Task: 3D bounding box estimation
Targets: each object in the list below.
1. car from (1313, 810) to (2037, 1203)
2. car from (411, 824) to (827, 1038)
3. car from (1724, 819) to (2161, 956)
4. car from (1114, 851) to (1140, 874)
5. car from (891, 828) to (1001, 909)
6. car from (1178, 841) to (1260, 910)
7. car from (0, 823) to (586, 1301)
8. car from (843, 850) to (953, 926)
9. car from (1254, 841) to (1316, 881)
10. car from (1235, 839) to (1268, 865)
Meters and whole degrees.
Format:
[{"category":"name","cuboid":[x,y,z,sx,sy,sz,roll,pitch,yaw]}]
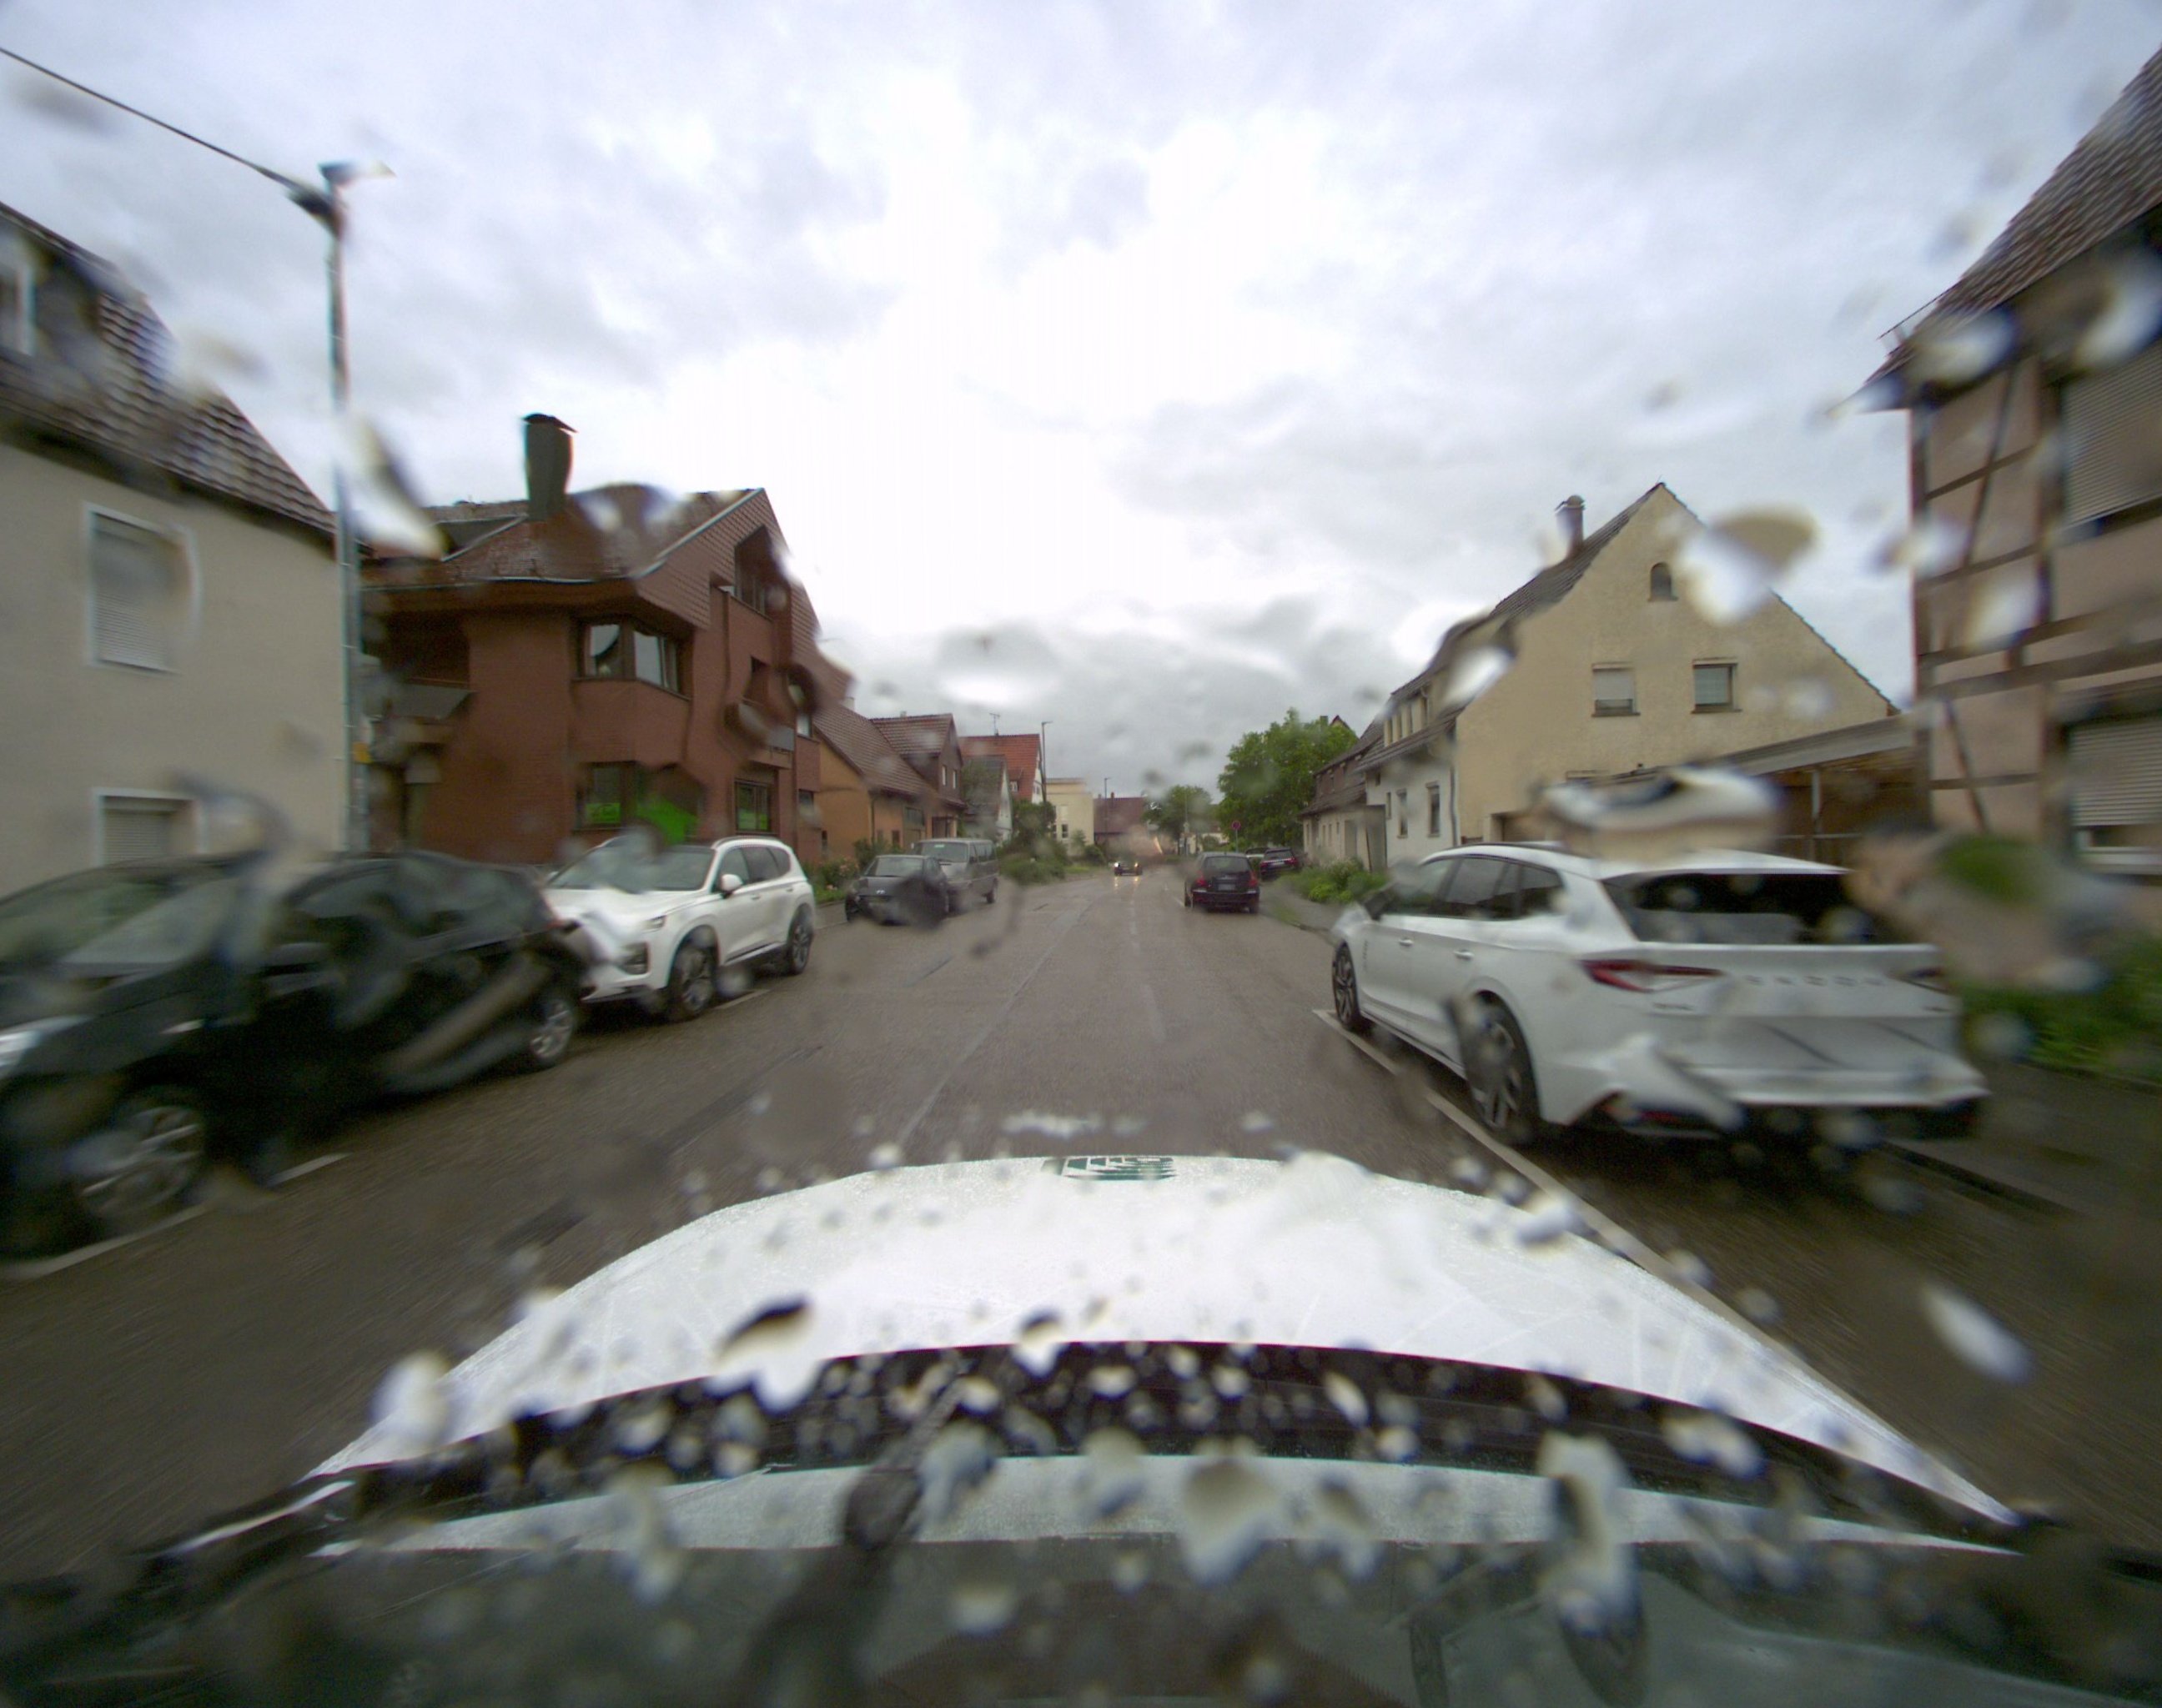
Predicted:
[{"category":"car","cuboid":[3.074,0.623,5.637,1.795,1.595,4.614,0,0,2]},{"category":"car","cuboid":[-4.323,0.604,8.680,1.759,1.619,4.655,-1,0,0]},{"category":"car","cuboid":[10.945,0.396,10.412,3.897,1.457,1.810,-2,0,5]},{"category":"car","cuboid":[3.416,0.618,60.178,1.789,1.640,4.005,0,0,5]},{"category":"car","cuboid":[-3.676,0.382,23.226,1.813,2.013,5.221,-1,0,5]},{"category":"car","cuboid":[3.753,0.563,22.677,1.742,1.710,4.003,-1,0,3]},{"category":"car","cuboid":[-4.442,0.727,4.286,1.599,1.617,3.277,-1,0,1]},{"category":"car","cuboid":[-4.015,0.698,18.367,1.573,1.497,3.568,-1,0,1]},{"category":"car","cuboid":[8.865,0.271,35.209,1.743,1.393,4.023,-8,-1,24]},{"category":"car","cuboid":[10.208,-0.114,48.887,1.629,1.430,3.685,-1,0,7]}]
